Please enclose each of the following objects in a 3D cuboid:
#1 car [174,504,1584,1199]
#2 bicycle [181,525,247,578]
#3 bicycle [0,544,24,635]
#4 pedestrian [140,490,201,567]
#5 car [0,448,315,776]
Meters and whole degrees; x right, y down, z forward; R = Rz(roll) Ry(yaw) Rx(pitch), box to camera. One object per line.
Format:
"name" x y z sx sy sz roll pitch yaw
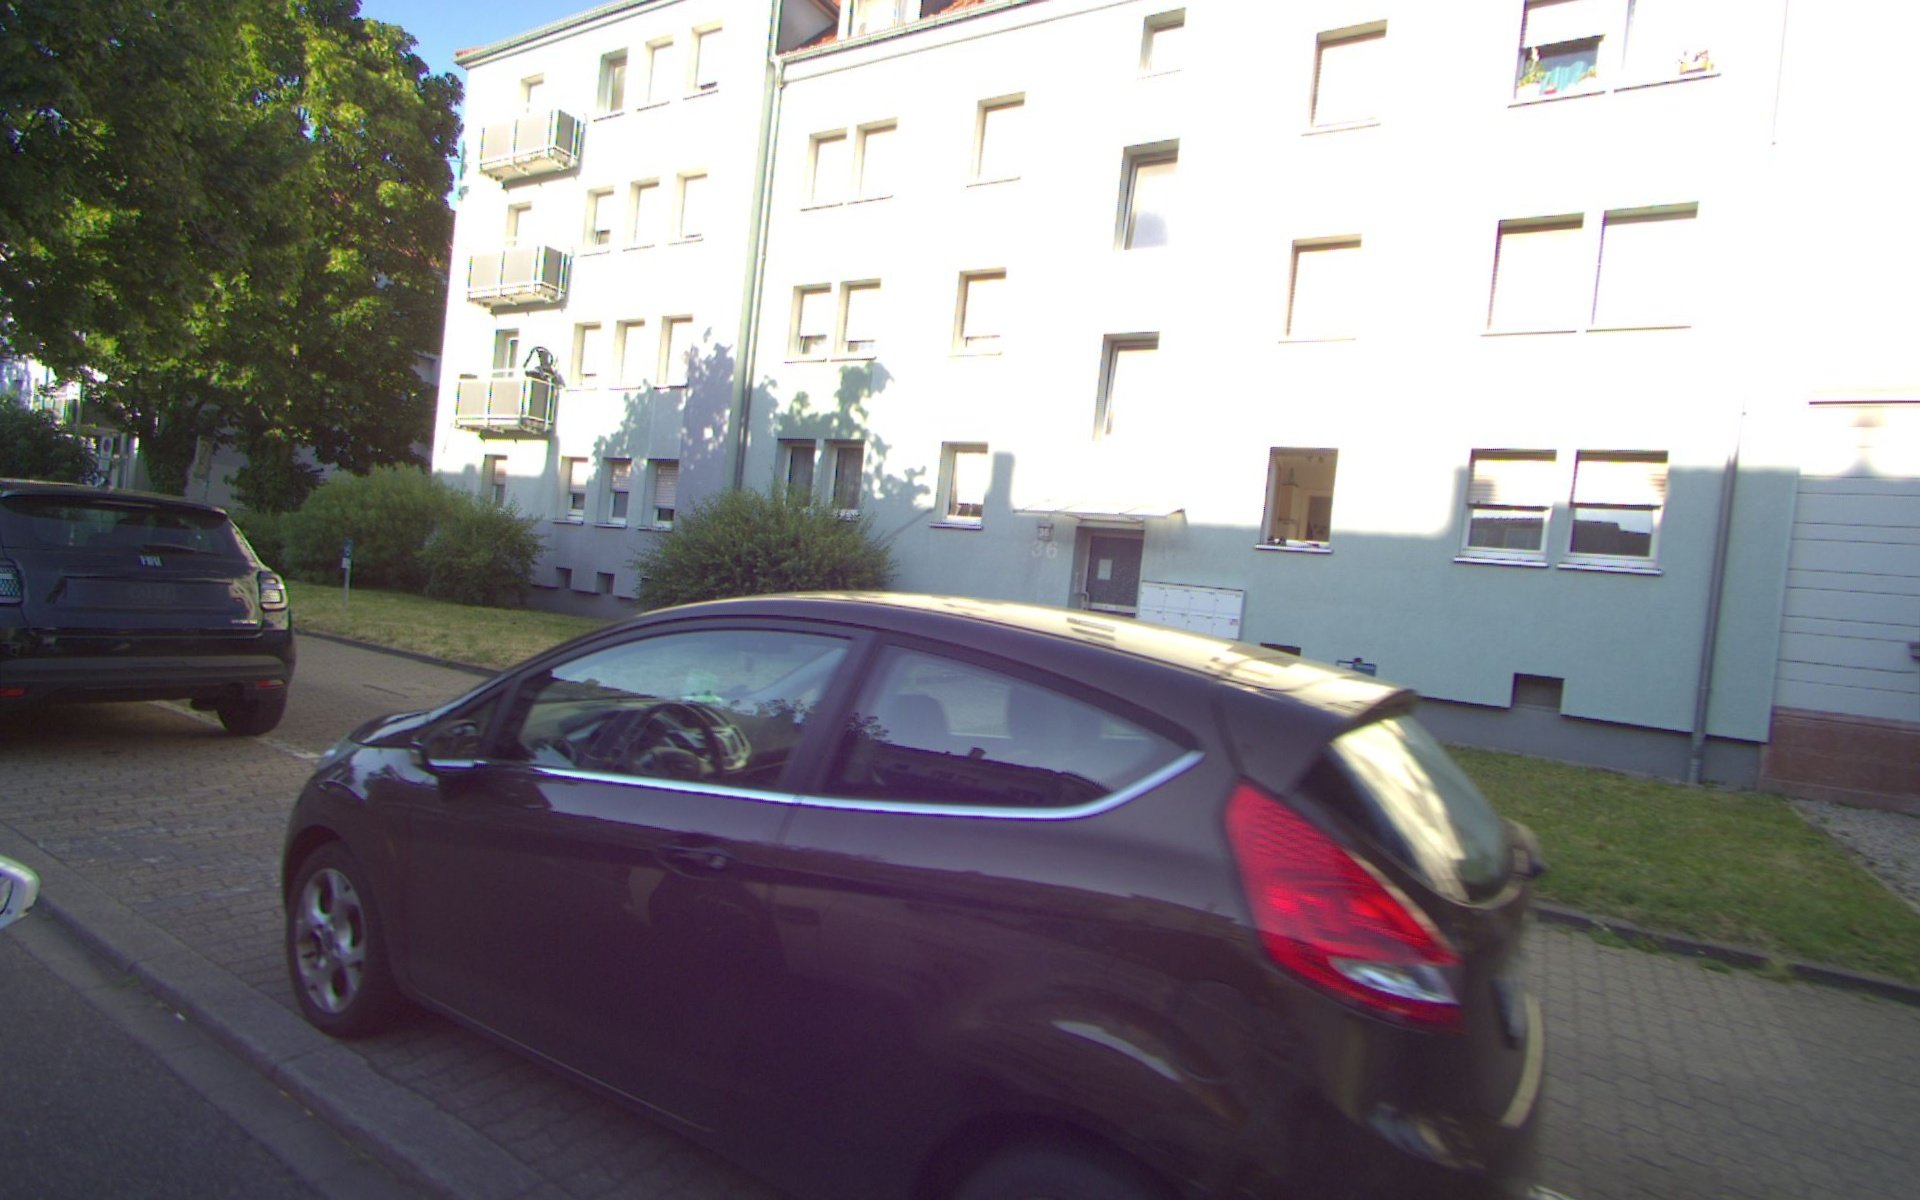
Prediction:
"car" -0.510 0.638 3.017 3.893 1.485 1.613 6 2 32
"bicycle" -15.585 -1.024 21.005 1.652 0.957 0.475 6 2 32
"bicycle" -9.859 -0.149 9.390 0.386 0.880 1.554 7 0 29
"pedestrian" -19.175 -1.718 24.447 0.787 1.744 0.742 5 2 -9
"car" -6.339 -0.094 6.789 4.184 1.684 1.754 6 2 34
